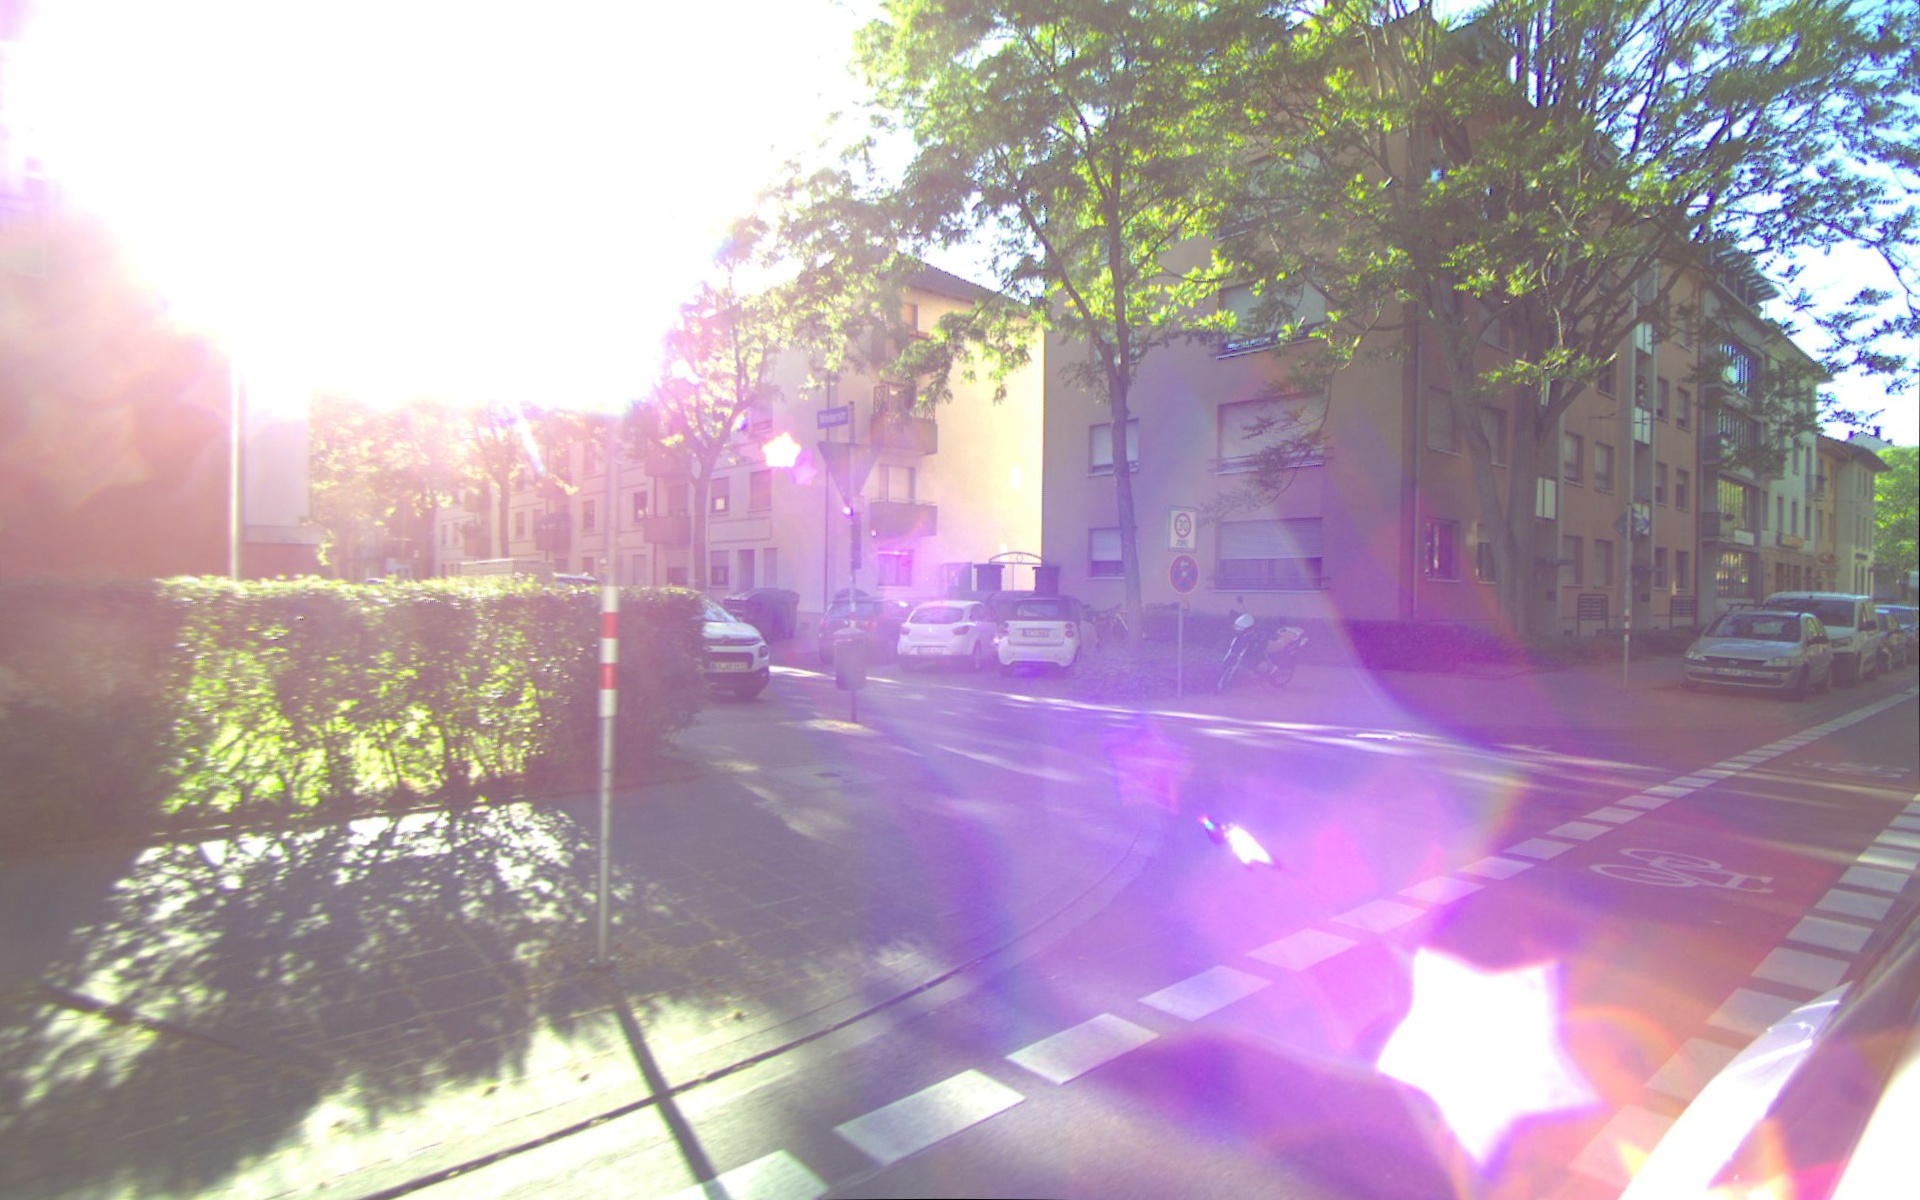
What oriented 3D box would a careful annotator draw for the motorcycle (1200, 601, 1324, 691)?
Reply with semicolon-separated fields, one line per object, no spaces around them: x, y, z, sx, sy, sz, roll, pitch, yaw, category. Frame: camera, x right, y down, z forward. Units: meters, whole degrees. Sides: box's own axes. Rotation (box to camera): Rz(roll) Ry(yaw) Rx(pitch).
4.841;0.691;16.155;2.214;1.314;0.680;-1;1;-35;motorcycle

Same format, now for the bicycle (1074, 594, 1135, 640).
3.892;0.454;27.303;0.442;1.185;1.773;0;0;-40;bicycle

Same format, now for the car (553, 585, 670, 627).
-12.788;0.187;37.183;3.719;1.459;1.662;-1;0;-40;car

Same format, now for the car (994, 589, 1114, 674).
2.018;0.561;20.695;1.703;1.560;3.979;0;0;17;car

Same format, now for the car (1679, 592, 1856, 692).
13.917;0.631;17.368;3.930;1.491;1.708;0;1;-41;car

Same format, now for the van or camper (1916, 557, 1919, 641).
38.843;0.002;38.932;6.161;3.102;2.466;0;2;-42;van or camper

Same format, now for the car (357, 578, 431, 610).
-34.482;-0.371;61.696;3.719;1.939;1.662;-1;0;-40;car

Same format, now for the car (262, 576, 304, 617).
-32.796;-0.197;48.989;1.410;1.897;3.389;0;0;-38;car

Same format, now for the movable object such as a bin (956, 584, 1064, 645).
1.260;0.333;26.023;1.355;1.436;2.542;-3;2;-43;movable object such as a bin

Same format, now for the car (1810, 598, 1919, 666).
22.272;0.722;24.717;4.095;1.491;1.708;0;1;-41;car

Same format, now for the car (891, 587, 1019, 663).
-0.008;0.468;21.829;1.703;1.479;3.924;0;0;17;car

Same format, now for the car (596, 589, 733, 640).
-9.081;0.409;31.243;3.719;1.459;1.662;-1;0;-40;car

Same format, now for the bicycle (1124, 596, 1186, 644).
4.804;0.475;24.862;1.744;1.113;0.513;-1;0;-41;bicycle

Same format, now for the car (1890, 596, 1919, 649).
29.901;0.673;30.921;4.248;1.541;1.791;0;2;-42;car

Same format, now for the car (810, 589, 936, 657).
-1.959;0.482;23.922;1.643;1.479;3.924;0;0;17;car

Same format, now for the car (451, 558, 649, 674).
-7.486;0.269;18.185;1.969;1.816;4.732;3;-2;-38;car

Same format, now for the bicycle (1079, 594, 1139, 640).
4.019;0.454;27.412;0.442;1.180;1.773;0;0;-40;bicycle

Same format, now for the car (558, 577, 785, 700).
-4.197;0.489;14.357;1.534;1.502;3.920;4;-2;-41;car

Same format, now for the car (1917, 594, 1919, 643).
34.146;0.646;34.496;4.202;1.648;1.796;0;2;-41;car

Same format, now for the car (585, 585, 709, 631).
-10.642;0.246;34.510;3.719;1.459;1.662;-1;0;-40;car

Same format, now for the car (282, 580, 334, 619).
-26.085;-0.043;40.447;1.410;1.507;3.389;0;0;-38;car

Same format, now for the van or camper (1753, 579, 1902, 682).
17.930;0.535;20.836;4.747;1.887;1.757;0;1;-42;van or camper

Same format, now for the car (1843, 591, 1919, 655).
26.060;0.593;28.073;4.261;1.591;1.771;0;2;-41;car

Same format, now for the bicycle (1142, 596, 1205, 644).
5.160;0.469;24.440;1.744;1.113;0.513;-1;0;-41;bicycle
